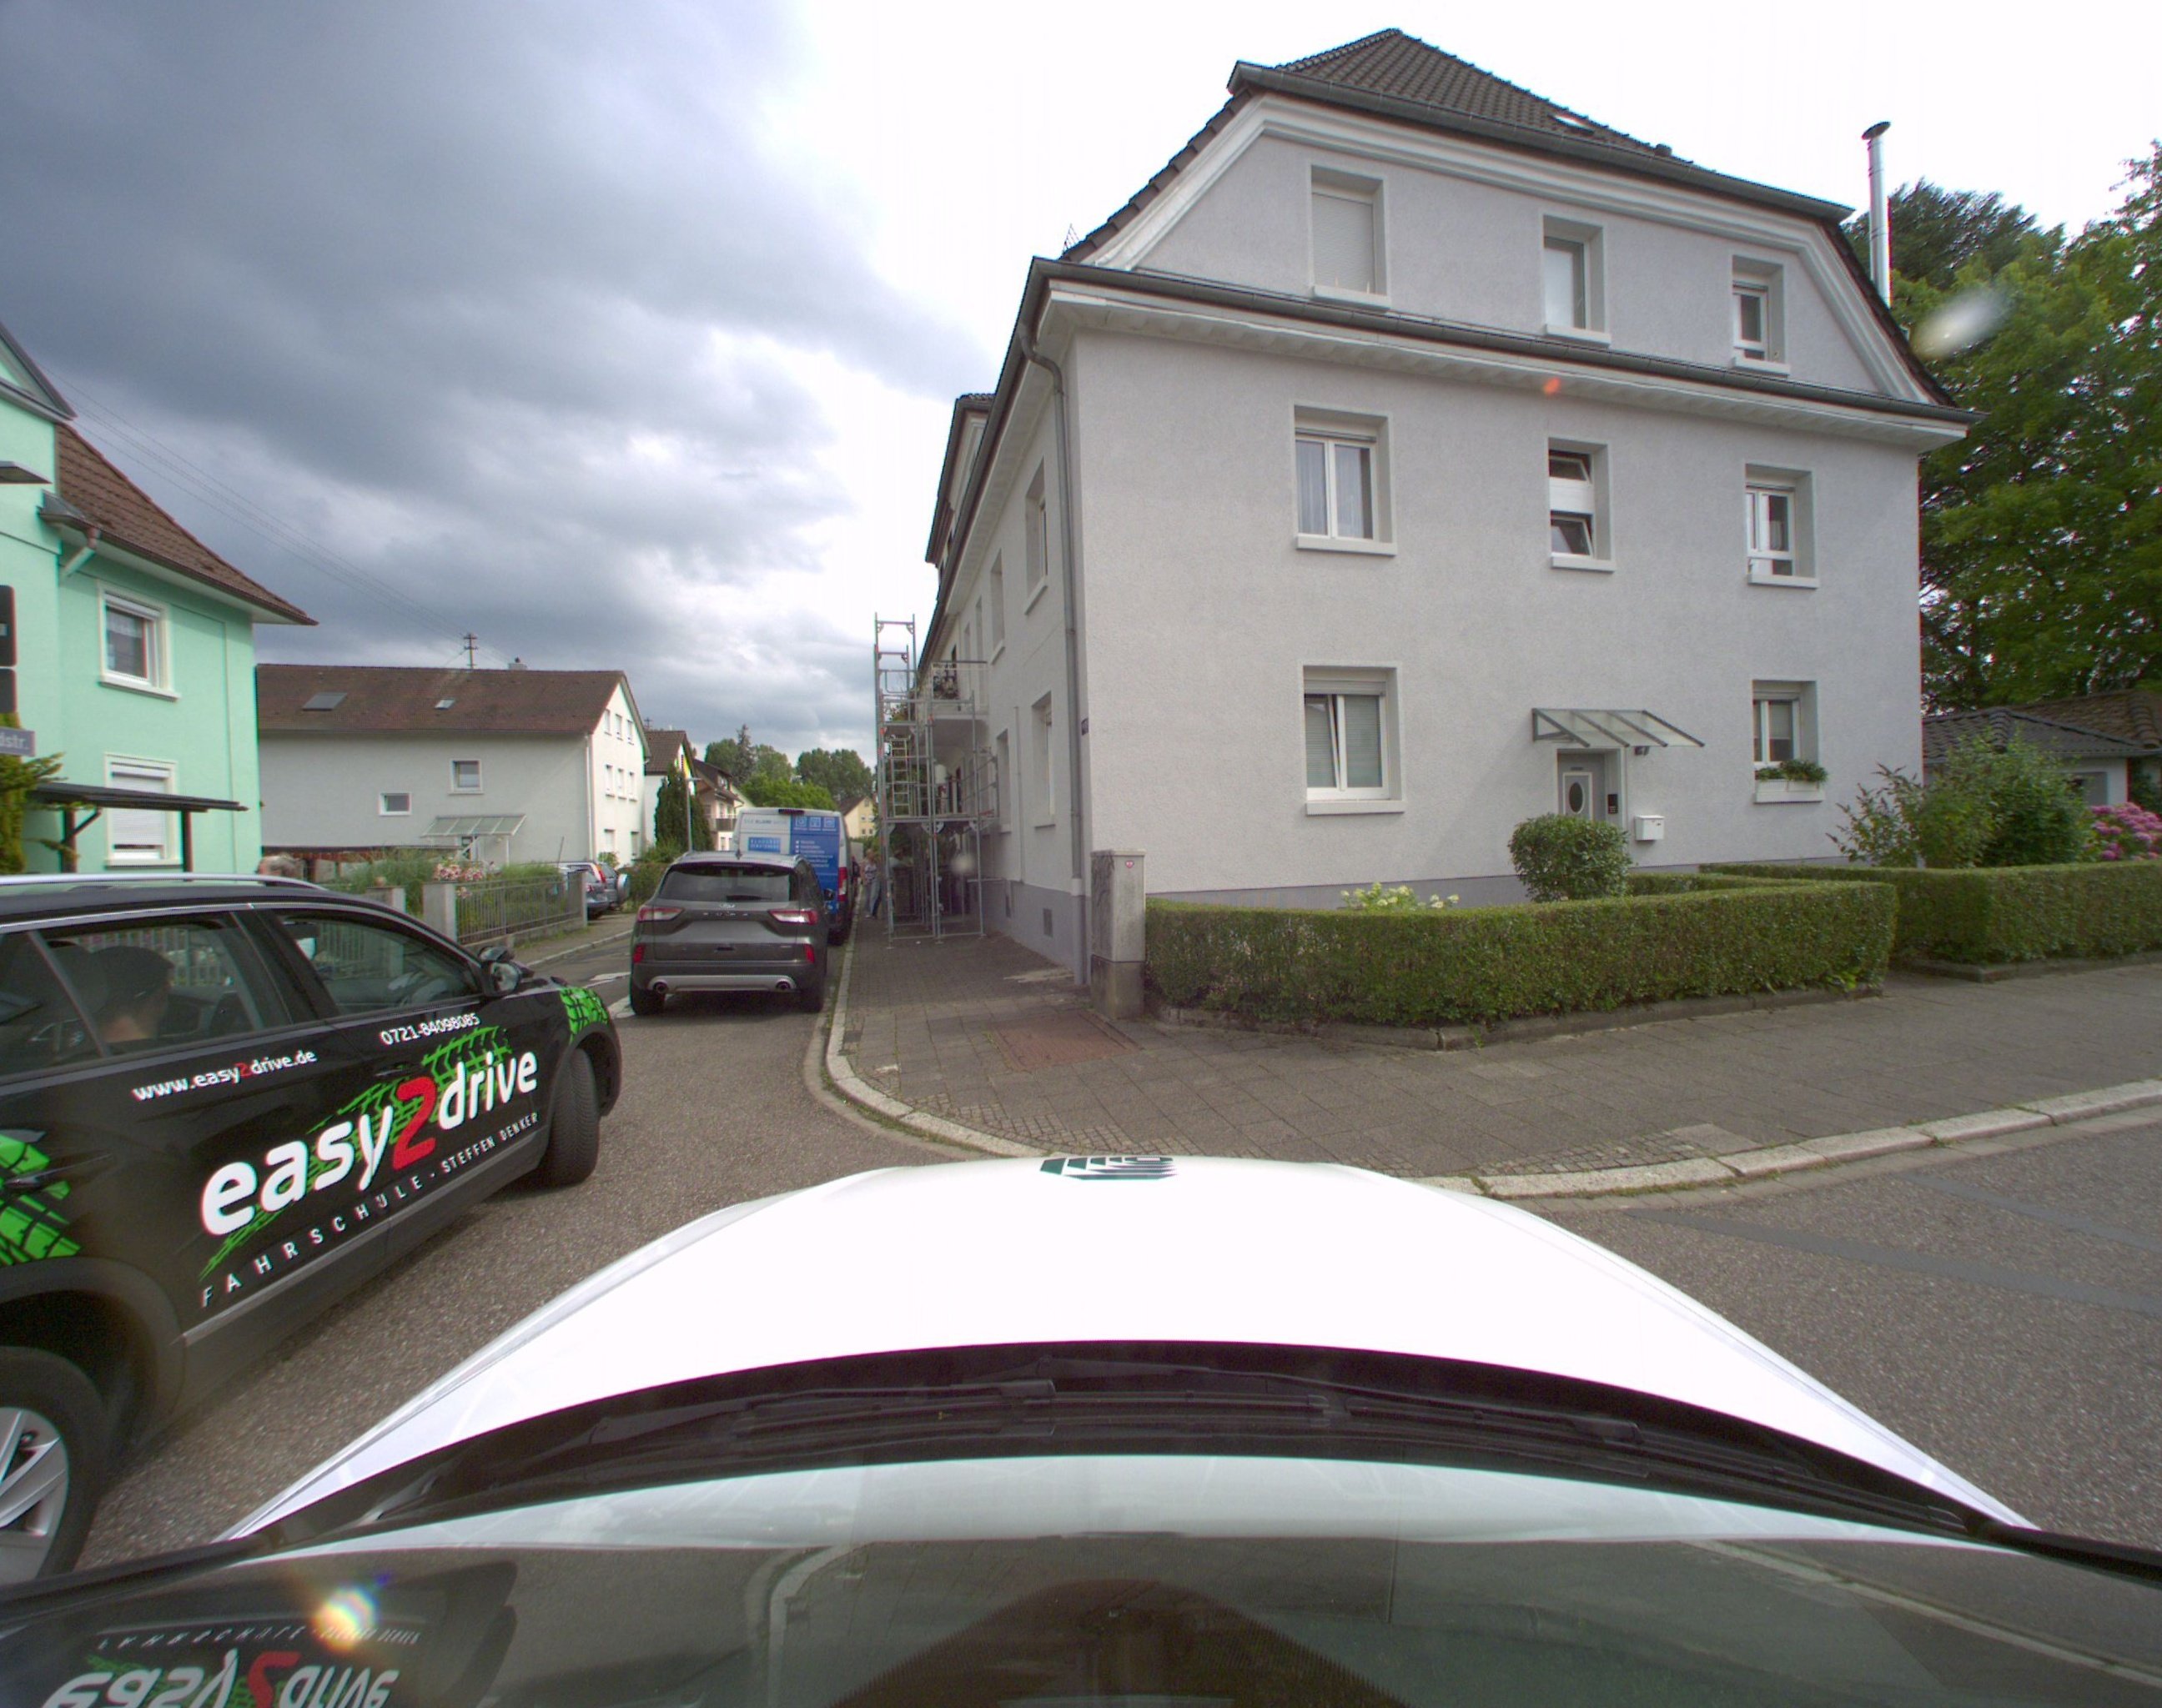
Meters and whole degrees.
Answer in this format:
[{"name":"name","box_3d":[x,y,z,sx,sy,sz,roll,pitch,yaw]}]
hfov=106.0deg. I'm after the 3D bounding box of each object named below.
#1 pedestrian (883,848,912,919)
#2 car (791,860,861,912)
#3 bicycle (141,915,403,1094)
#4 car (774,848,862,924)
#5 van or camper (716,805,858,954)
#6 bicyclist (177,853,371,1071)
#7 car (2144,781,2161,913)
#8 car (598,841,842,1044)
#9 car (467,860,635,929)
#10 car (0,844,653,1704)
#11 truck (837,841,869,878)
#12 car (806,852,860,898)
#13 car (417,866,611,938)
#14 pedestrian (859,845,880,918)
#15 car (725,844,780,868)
[{"name":"pedestrian","box_3d":[-4.381,0.702,19.410,0.602,1.629,0.622,-2,-1,-14]},{"name":"car","box_3d":[-8.441,0.992,27.044,1.999,1.455,4.316,-2,1,-17]},{"name":"bicycle","box_3d":[-6.835,1.192,7.040,0.706,1.152,1.863,-3,1,-15]},{"name":"car","box_3d":[-7.115,0.781,22.189,1.999,1.772,4.316,-2,1,-17]},{"name":"van or camper","box_3d":[-5.720,0.413,16.480,2.196,2.459,5.028,-2,1,-15]},{"name":"bicyclist","box_3d":[-6.819,0.850,6.950,0.697,1.666,0.970,-4,0,-15]},{"name":"car","box_3d":[17.109,-0.176,10.946,3.992,1.837,1.991,-2,1,-14]},{"name":"car","box_3d":[-3.902,0.775,9.551,1.999,1.726,4.316,-2,1,-17]},{"name":"car","box_3d":[-14.693,1.076,22.776,3.582,1.667,1.577,-3,0,-19]},{"name":"car","box_3d":[-3.041,0.783,2.555,1.816,1.520,4.029,-2,-1,-10]},{"name":"truck","box_3d":[-17.180,0.393,61.301,2.135,2.657,4.558,-2,1,-17]},{"name":"car","box_3d":[-10.602,0.842,34.849,1.999,1.749,4.316,-2,1,-17]},{"name":"car","box_3d":[-13.891,1.128,20.178,3.582,1.500,1.577,-3,0,-19]},{"name":"pedestrian","box_3d":[-5.234,0.681,20.120,0.409,1.762,0.510,-2,-1,-18]},{"name":"car","box_3d":[-27.128,0.138,67.348,3.998,1.772,1.858,-2,-1,-19]}]
